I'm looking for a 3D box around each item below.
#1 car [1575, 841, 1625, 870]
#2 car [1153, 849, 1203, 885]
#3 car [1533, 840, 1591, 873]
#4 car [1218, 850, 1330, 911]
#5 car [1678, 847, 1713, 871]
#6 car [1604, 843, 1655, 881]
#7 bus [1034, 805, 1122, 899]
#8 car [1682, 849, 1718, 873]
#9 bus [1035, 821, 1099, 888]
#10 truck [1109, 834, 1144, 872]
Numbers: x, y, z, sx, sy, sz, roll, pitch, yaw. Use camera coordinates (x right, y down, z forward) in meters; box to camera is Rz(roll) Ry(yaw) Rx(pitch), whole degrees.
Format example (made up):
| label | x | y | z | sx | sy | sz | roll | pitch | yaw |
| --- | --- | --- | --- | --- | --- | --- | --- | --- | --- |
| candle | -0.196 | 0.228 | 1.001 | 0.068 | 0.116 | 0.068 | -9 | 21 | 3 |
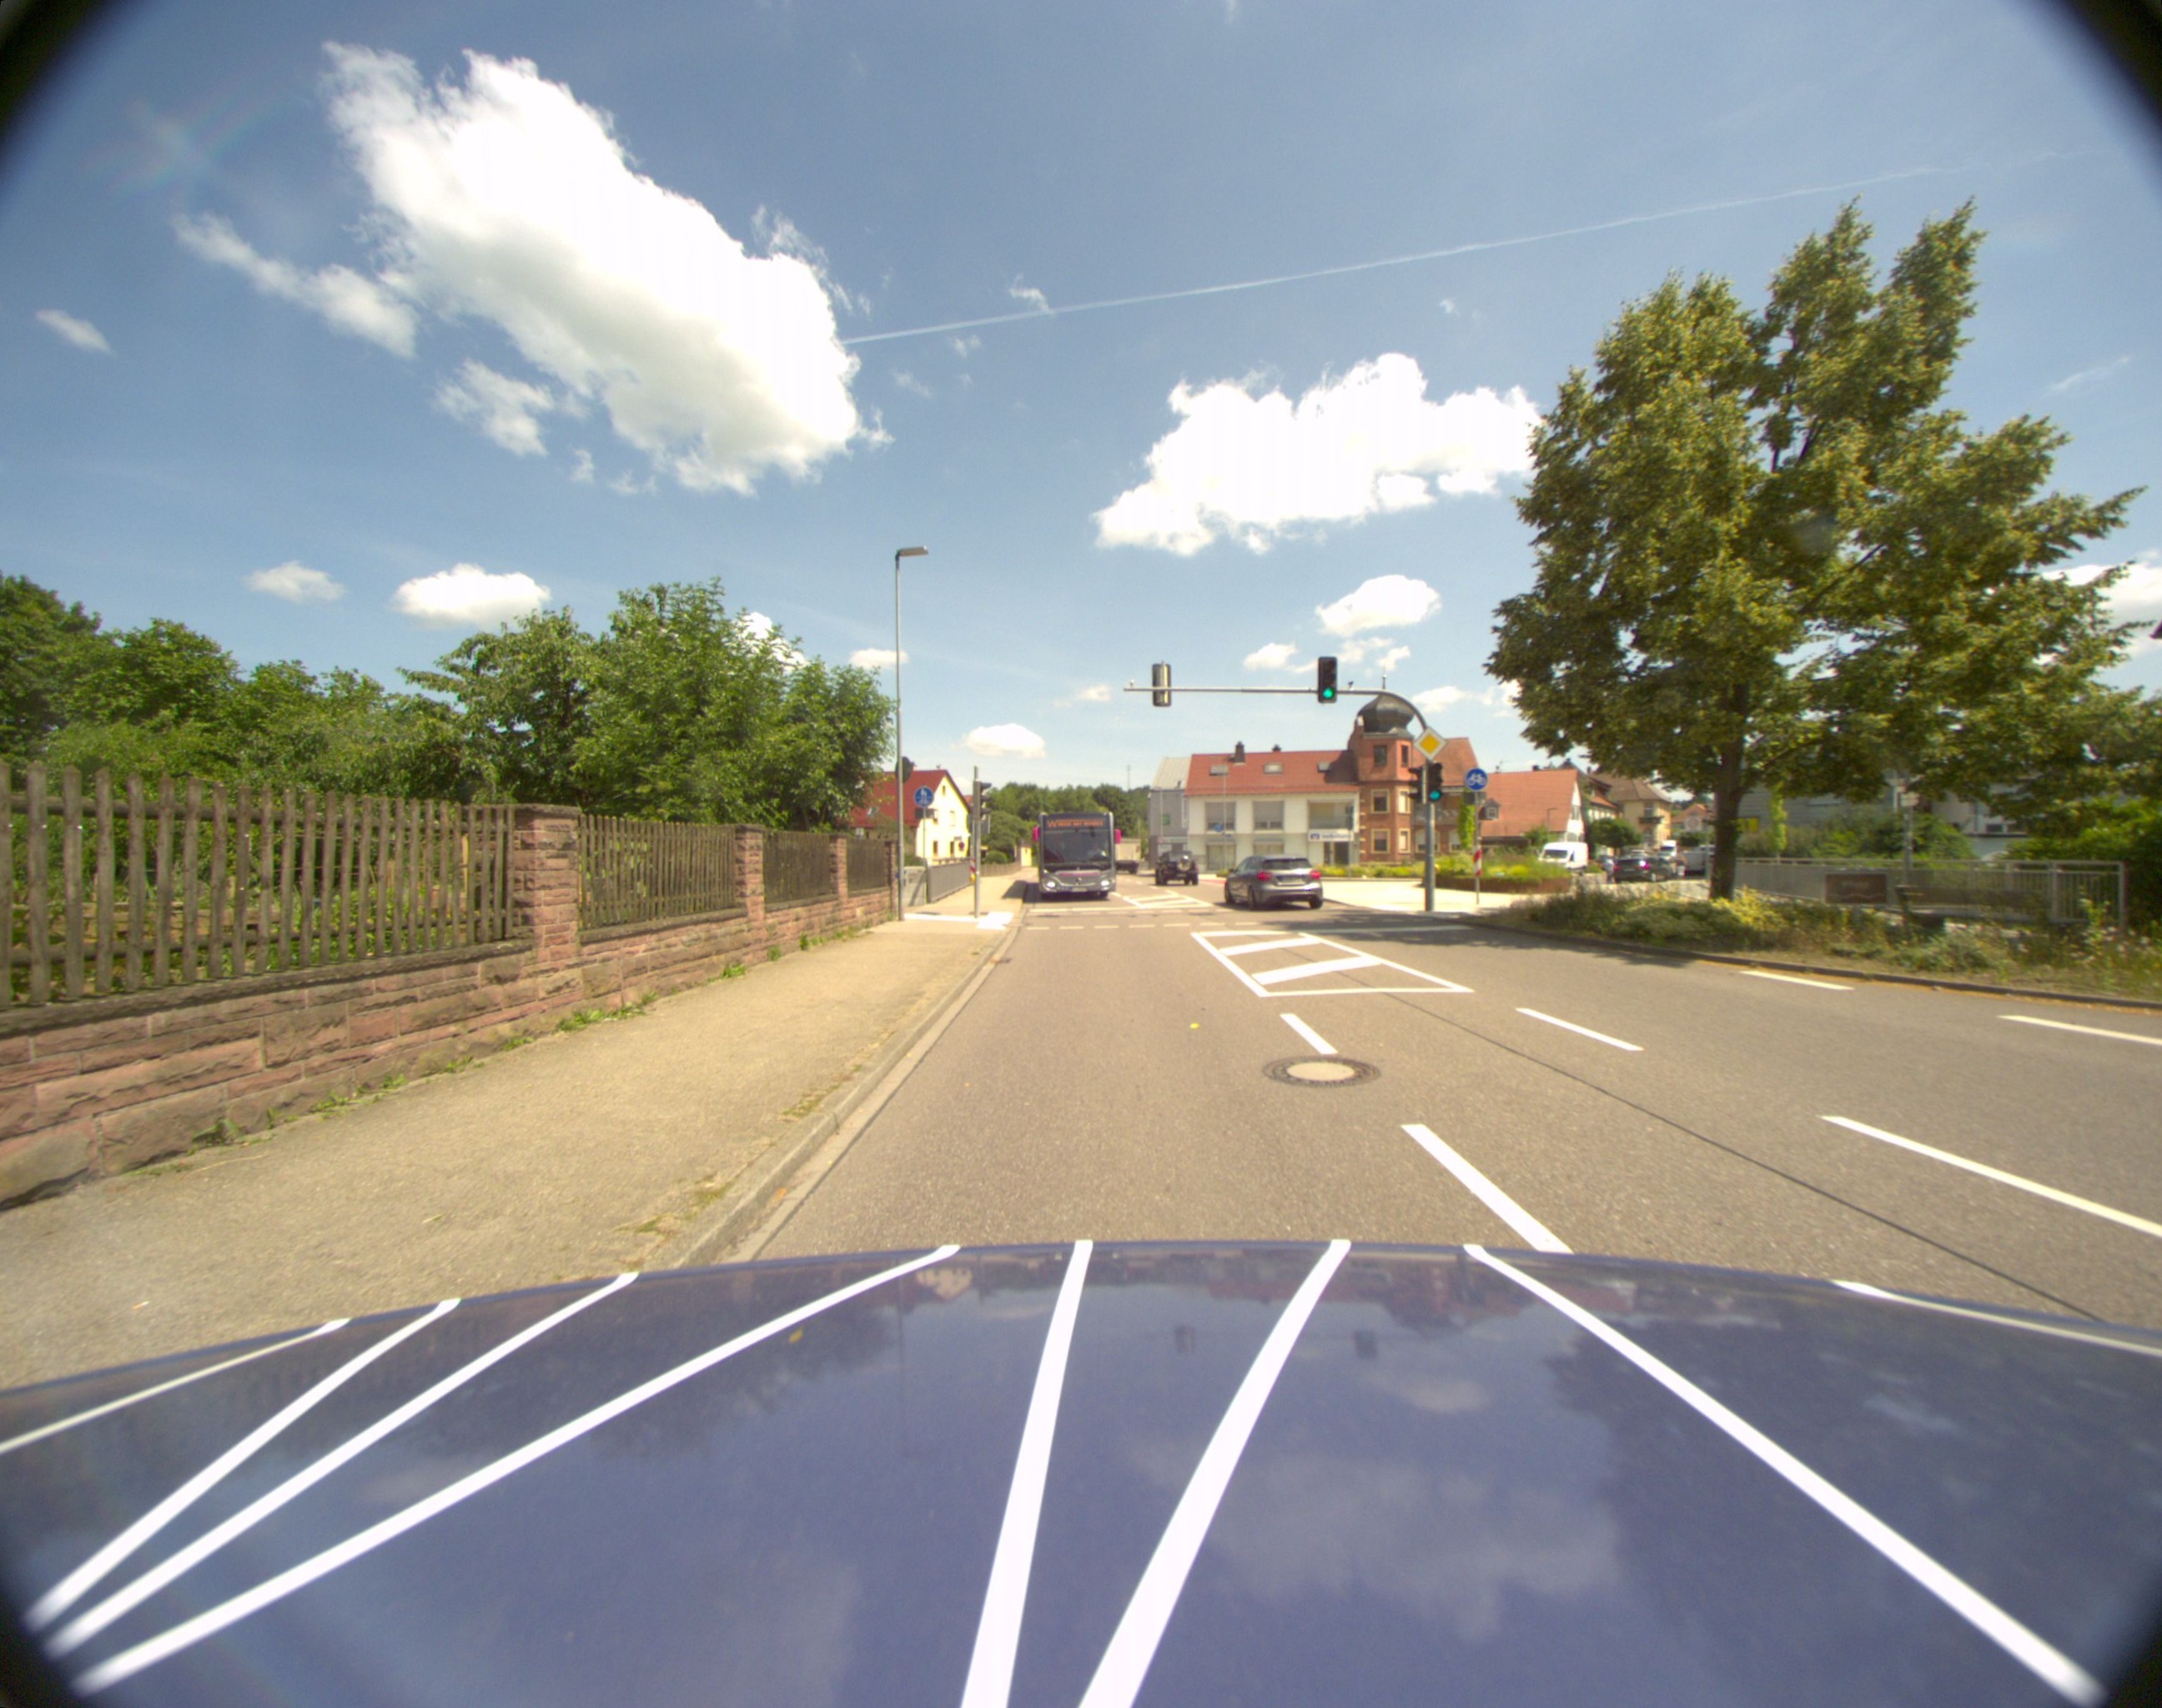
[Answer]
| label | x | y | z | sx | sy | sz | roll | pitch | yaw |
| --- | --- | --- | --- | --- | --- | --- | --- | --- | --- |
| car | 42.856 | 0.108 | 62.676 | 5.122 | 2.332 | 2.167 | 0 | 1 | -41 |
| car | 4.649 | 0.603 | 36.777 | 1.744 | 1.641 | 3.667 | -1 | 0 | -3 |
| car | 35.006 | 0.156 | 55.260 | 5.122 | 2.332 | 2.167 | 0 | 1 | -41 |
| car | 5.114 | 0.642 | 20.727 | 1.868 | 1.434 | 4.216 | 1 | 1 | -1 |
| car | 50.039 | 0.418 | 61.881 | 1.918 | 1.867 | 4.008 | 2 | 1 | 43 |
| car | 30.604 | 0.441 | 42.341 | 1.994 | 2.002 | 4.009 | 0 | 0 | 40 |
| bus | -0.342 | 0.073 | 28.938 | 2.756 | 2.949 | 9.280 | 1 | -2 | -3 |
| car | 46.953 | 0.521 | 57.639 | 2.063 | 1.718 | 4.008 | 1 | 1 | 39 |
| bus | -0.888 | 0.143 | 38.292 | 2.756 | 2.949 | 9.280 | 1 | -2 | -4 |
| truck | 3.938 | -0.128 | 66.902 | 2.508 | 3.217 | 6.038 | 1 | 1 | -2 |
